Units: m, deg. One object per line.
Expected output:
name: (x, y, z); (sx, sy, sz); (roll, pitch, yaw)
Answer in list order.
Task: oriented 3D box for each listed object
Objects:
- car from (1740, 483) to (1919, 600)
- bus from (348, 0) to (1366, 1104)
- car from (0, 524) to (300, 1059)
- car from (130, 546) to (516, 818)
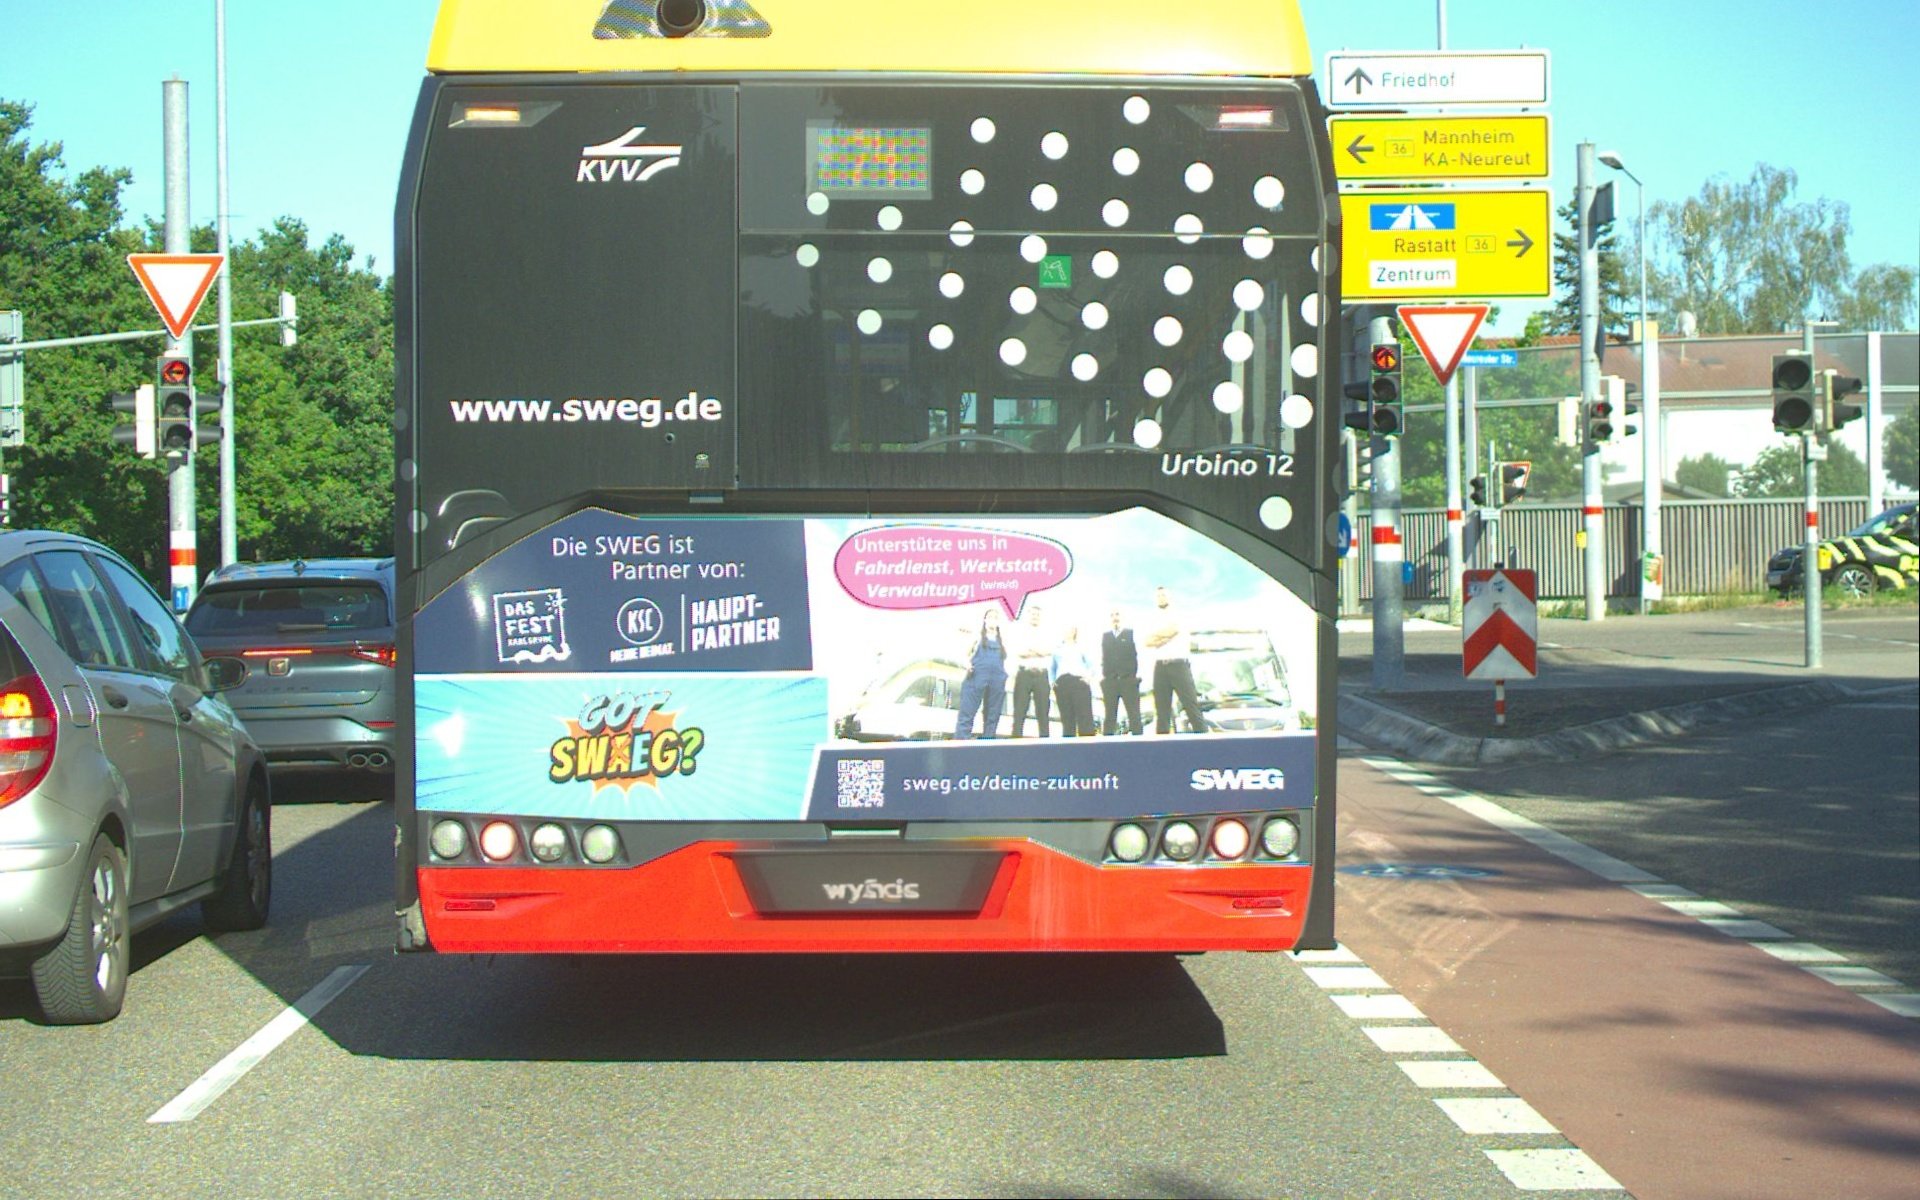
car: (13.145, -0.853, 47.885); (4.066, 1.521, 1.769); (-2, 1, -4)
bus: (-0.288, -0.402, 14.892); (2.642, 3.156, 11.861); (0, 1, 0)
car: (-3.601, 0.561, 12.193); (1.761, 1.584, 4.000); (-2, 1, -1)
car: (-3.807, 0.431, 21.125); (1.692, 1.453, 3.751); (-2, 1, -1)
